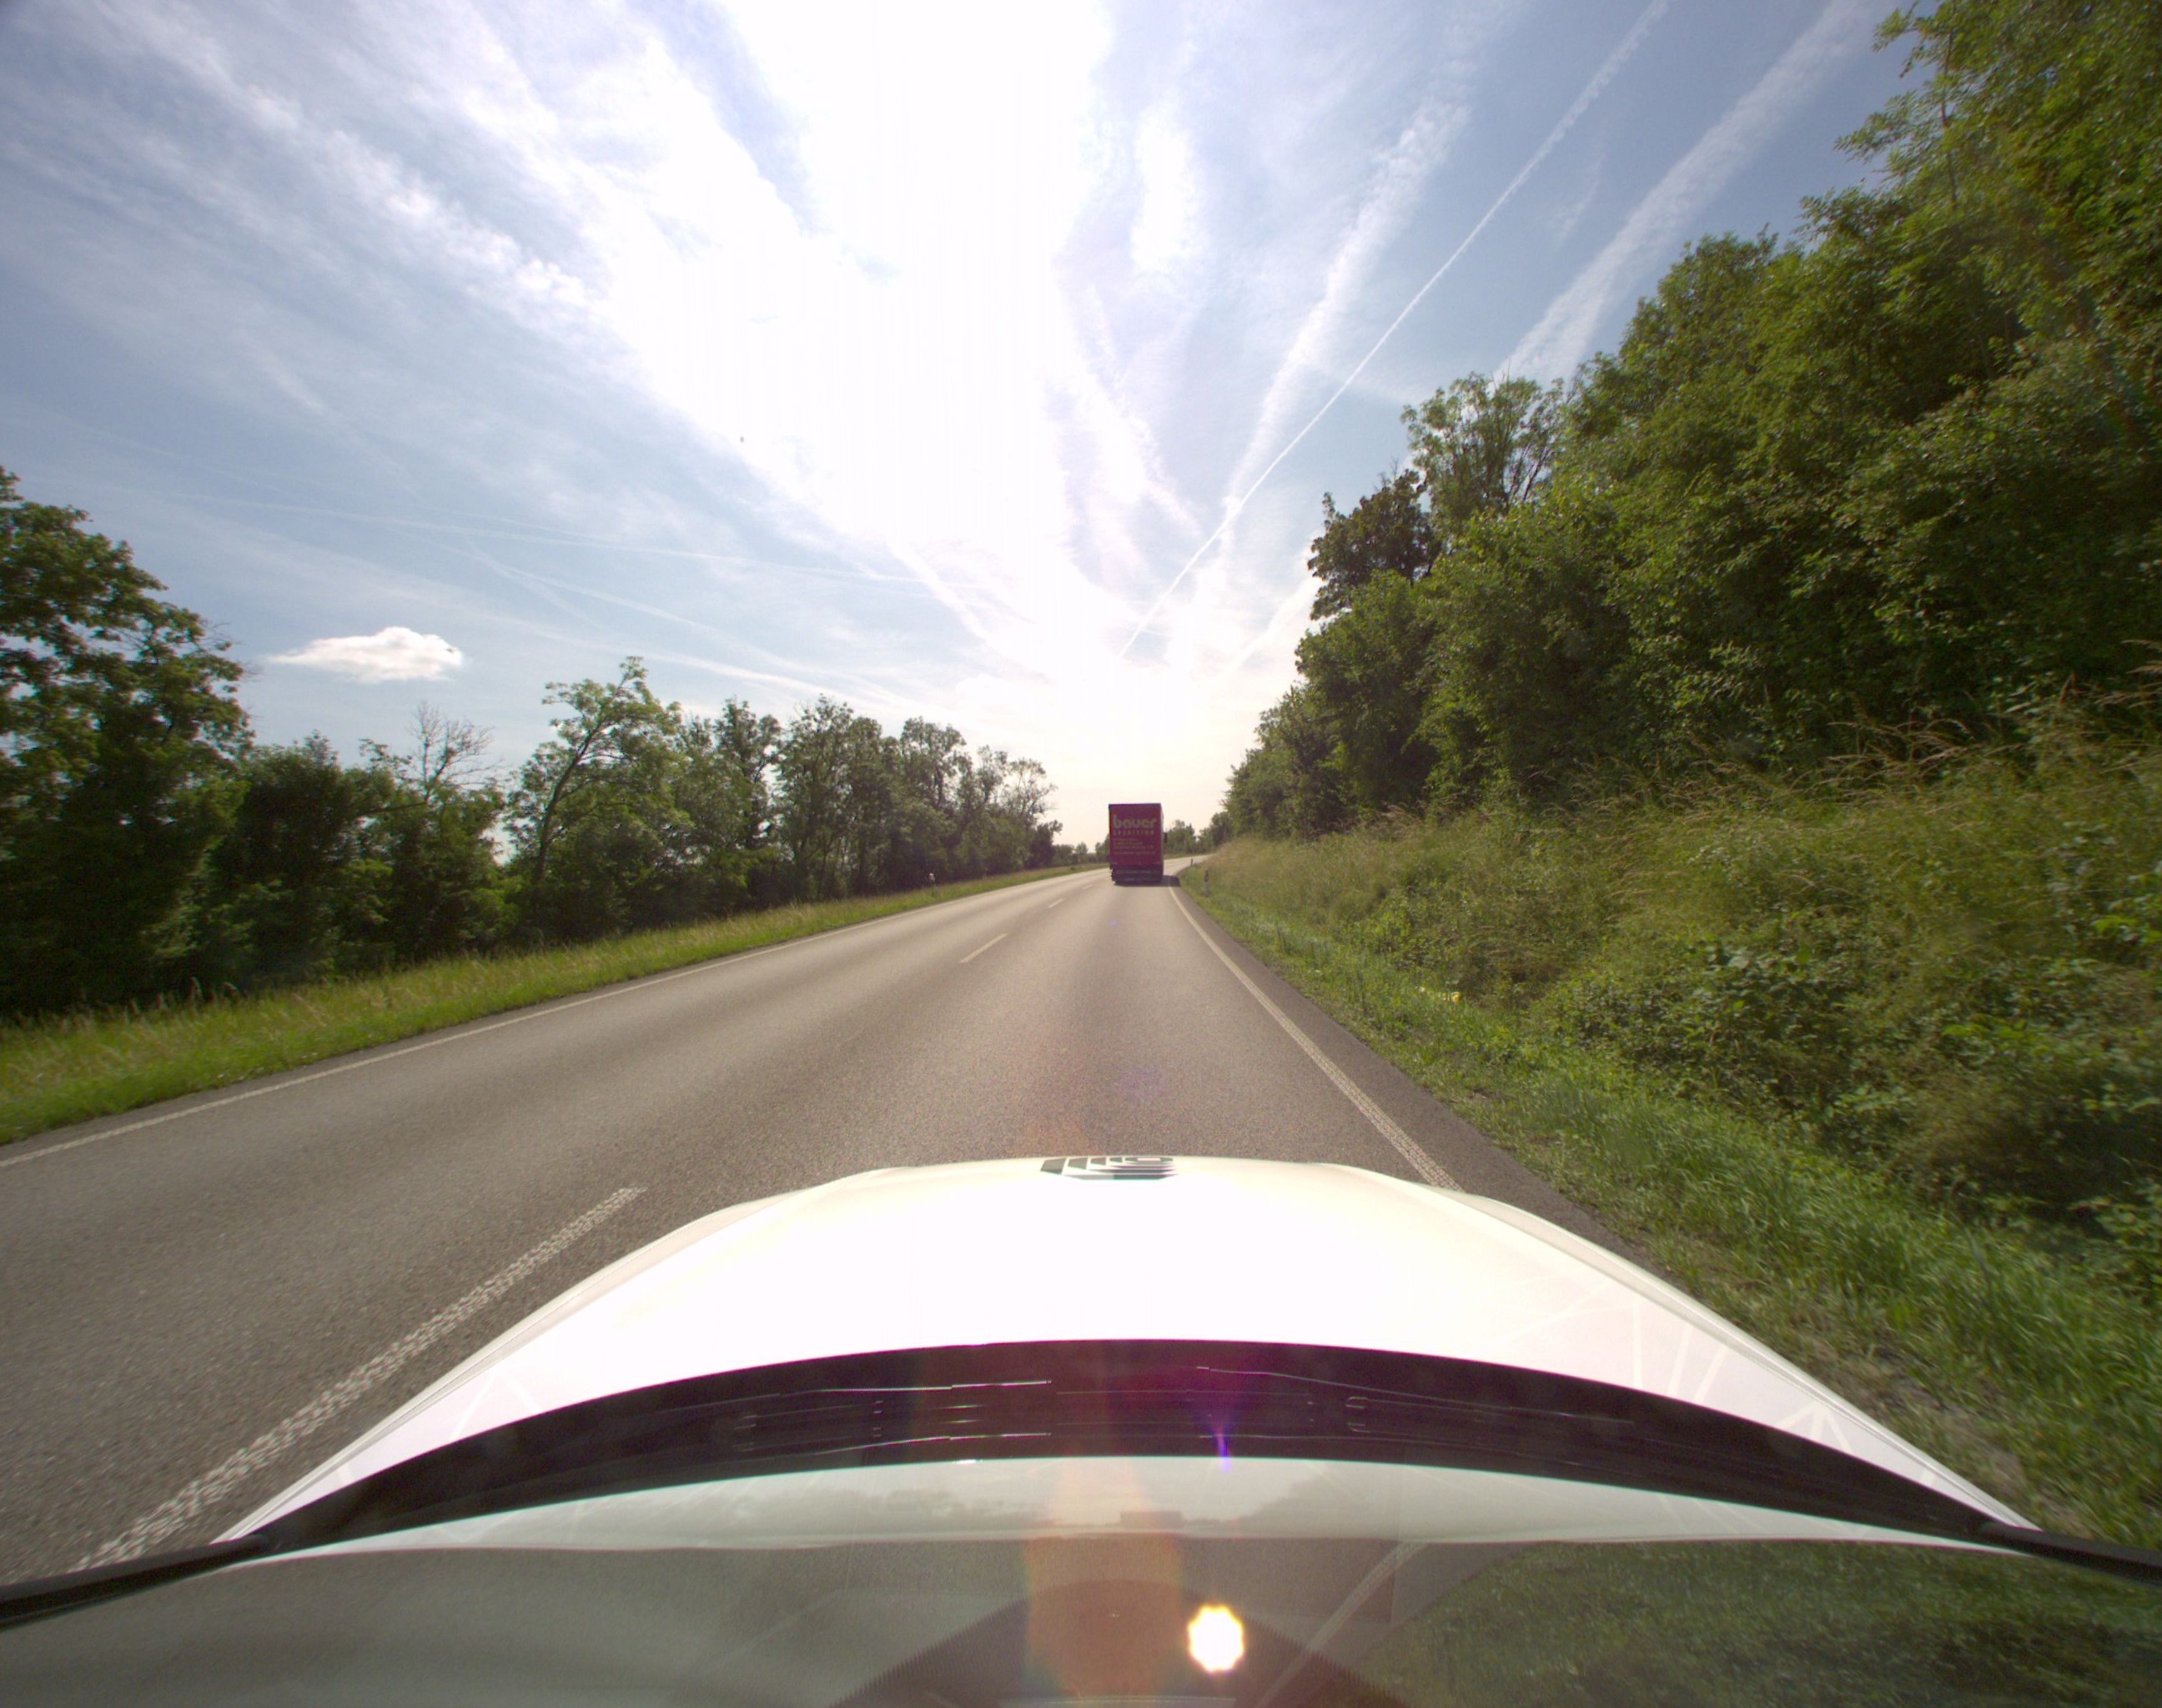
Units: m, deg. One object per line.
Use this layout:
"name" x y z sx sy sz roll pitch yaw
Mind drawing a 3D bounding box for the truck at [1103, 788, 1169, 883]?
"truck" 3.176 -0.876 45.269 3.097 4.506 12.184 -1 0 5
